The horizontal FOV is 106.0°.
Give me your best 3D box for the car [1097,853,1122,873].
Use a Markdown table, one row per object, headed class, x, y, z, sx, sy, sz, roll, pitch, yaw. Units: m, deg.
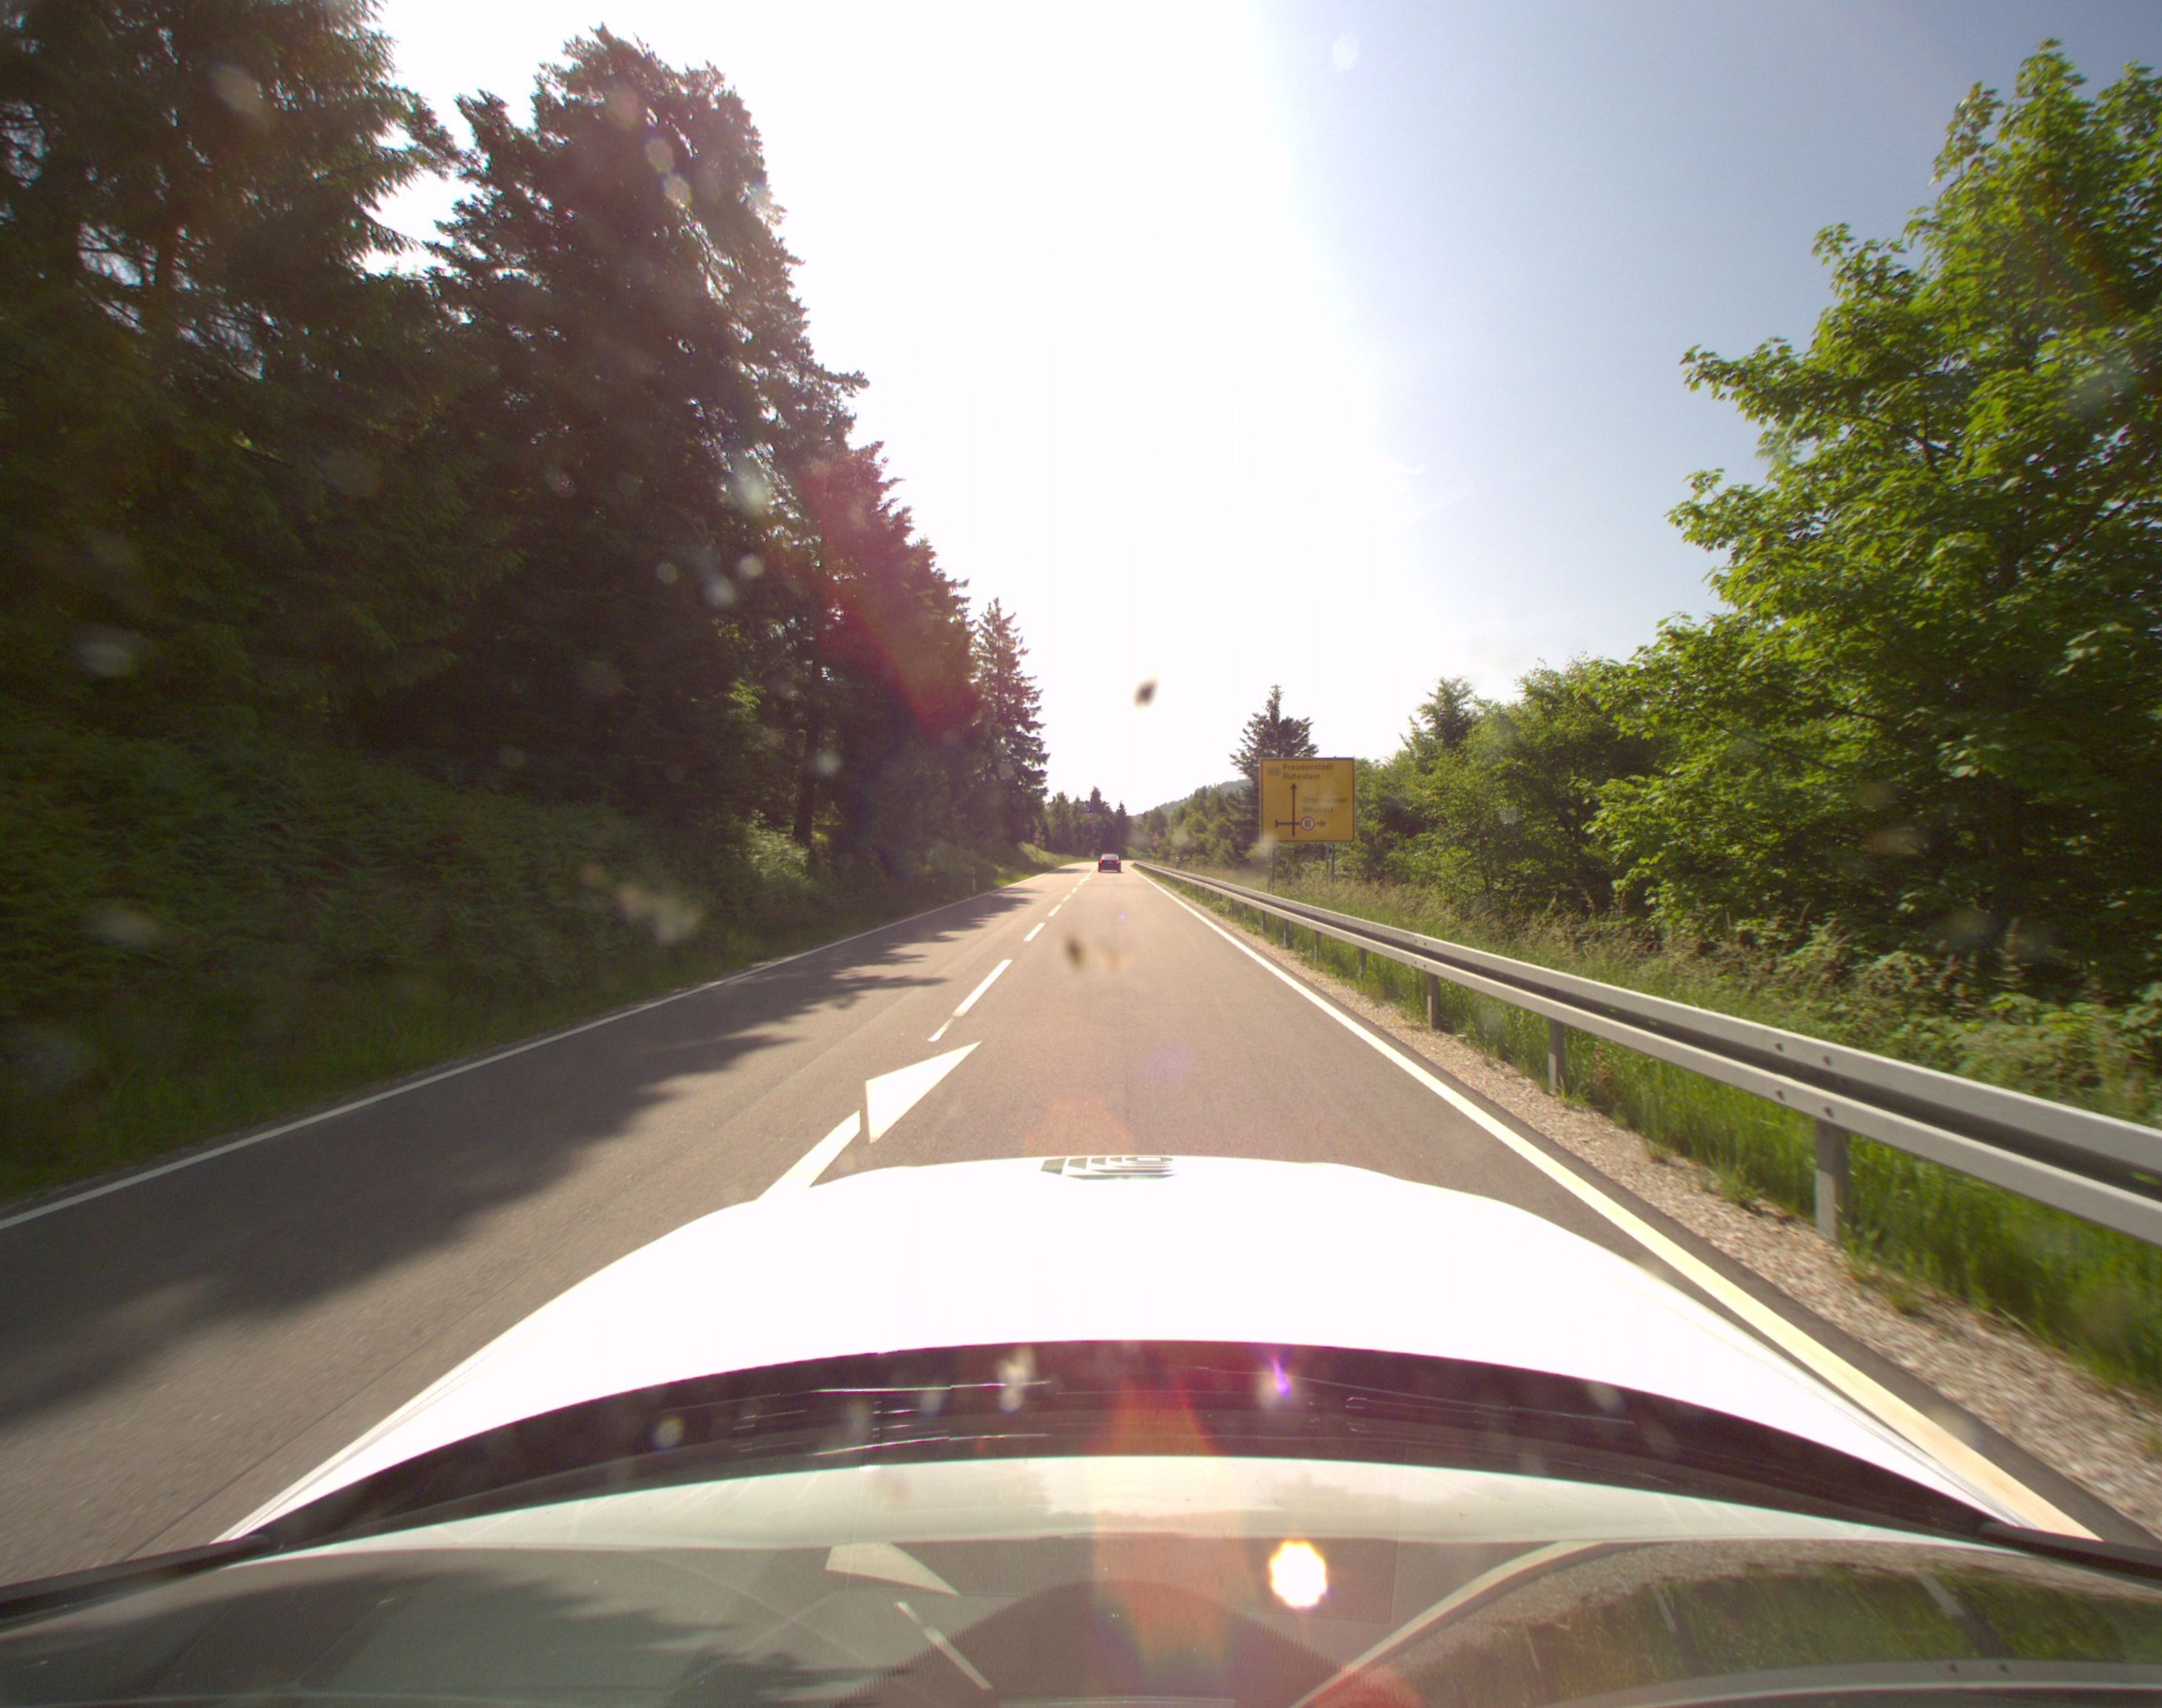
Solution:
| class | x | y | z | sx | sy | sz | roll | pitch | yaw |
| --- | --- | --- | --- | --- | --- | --- | --- | --- | --- |
| car | 2.281 | 0.700 | 64.187 | 1.768 | 1.442 | 3.713 | 1 | 0 | 4 |
